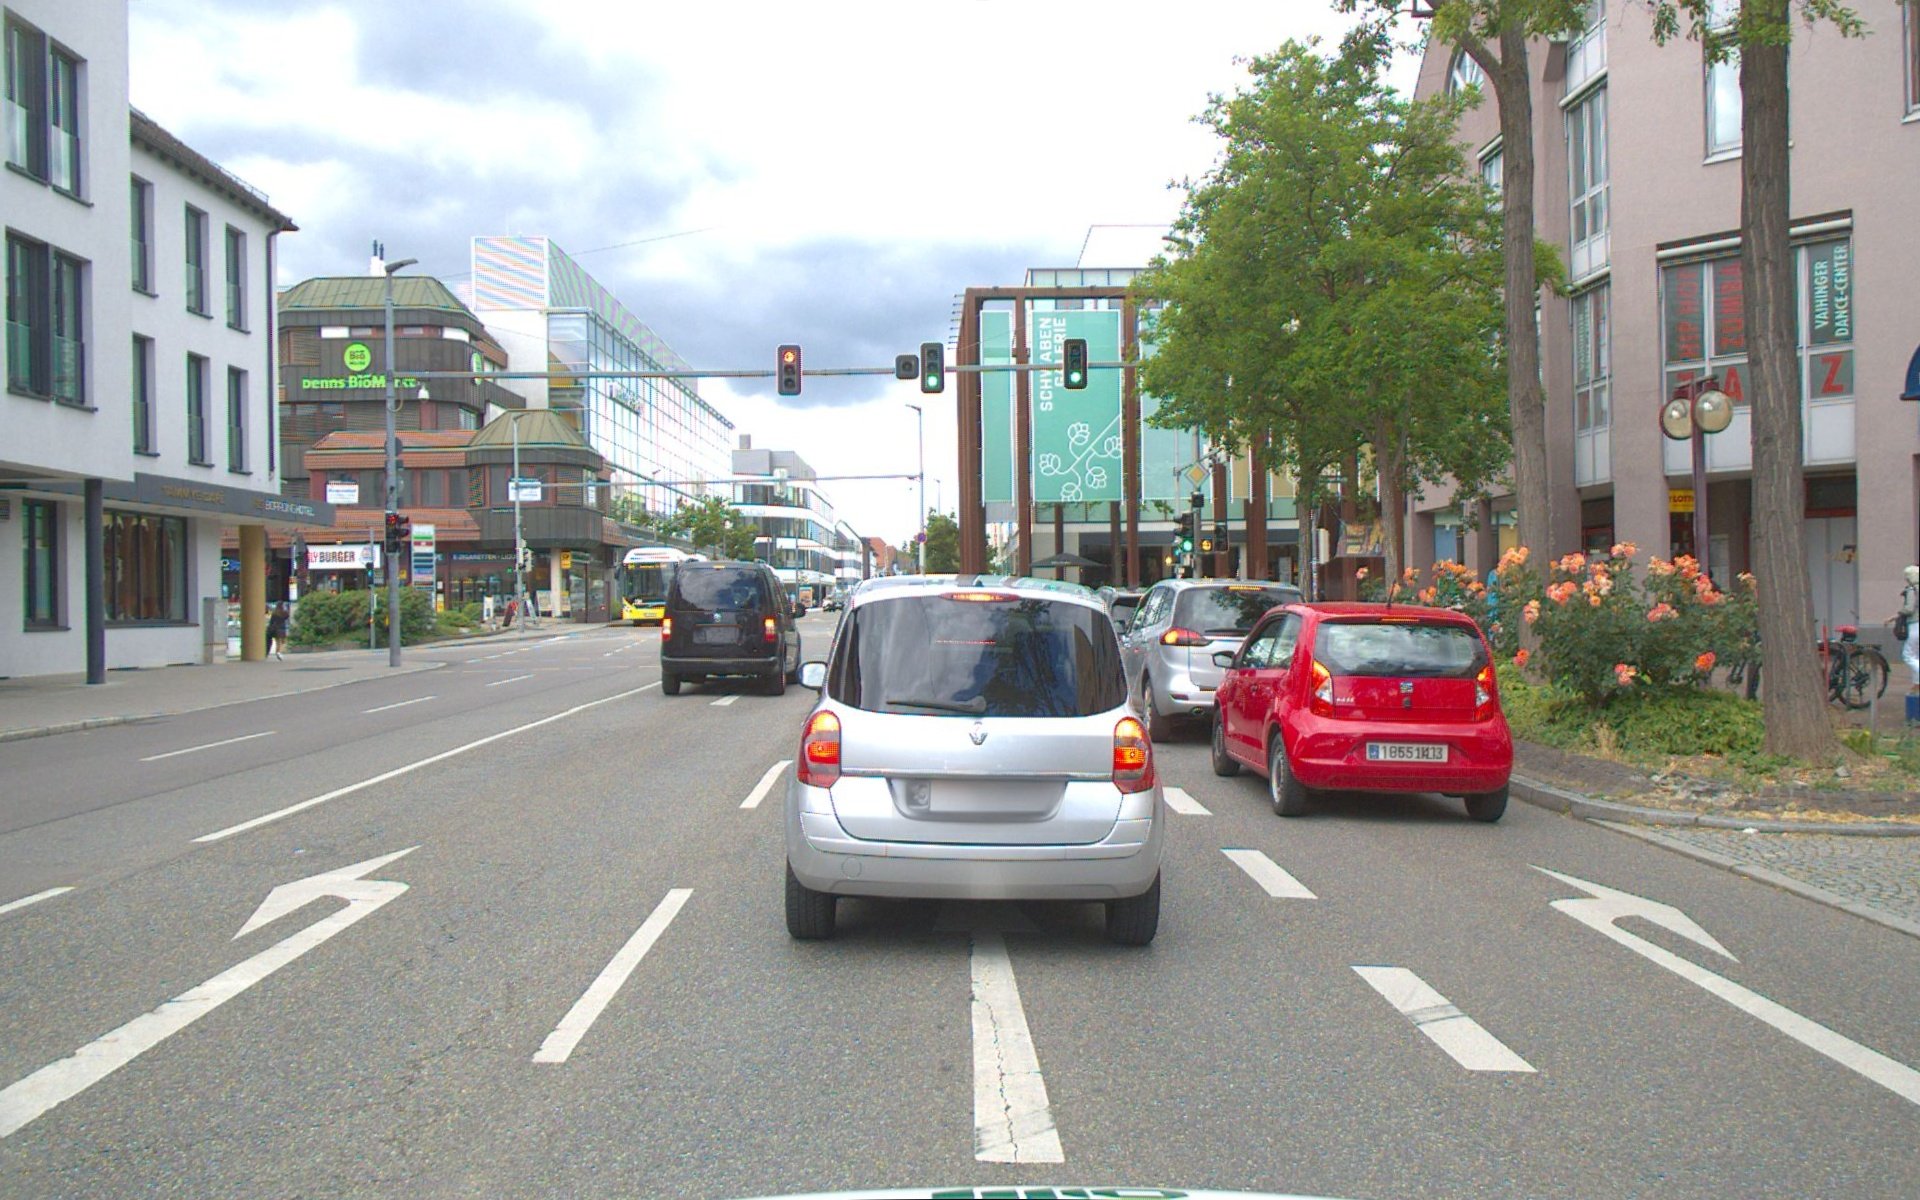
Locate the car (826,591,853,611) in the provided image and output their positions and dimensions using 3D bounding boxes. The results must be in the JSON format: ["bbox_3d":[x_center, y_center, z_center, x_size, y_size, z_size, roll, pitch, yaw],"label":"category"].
[{"bbox_3d":[-9.640,0.065,132.556,1.764,1.567,4.065,0,0,0],"label":"car"}]

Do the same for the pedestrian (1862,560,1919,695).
[{"bbox_3d":[12.325,0.339,21.411,0.773,1.688,0.819,-3,0,-1],"label":"pedestrian"}]

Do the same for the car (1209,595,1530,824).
[{"bbox_3d":[2.961,0.719,12.604,1.554,1.468,3.348,1,0,-1],"label":"car"}]

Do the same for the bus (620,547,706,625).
[{"bbox_3d":[-13.338,-0.636,74.880,2.633,3.318,8.650,0,0,-2],"label":"bus"}]

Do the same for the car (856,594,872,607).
[{"bbox_3d":[-12.271,0.038,210.910,1.764,1.567,4.065,0,0,0],"label":"car"}]

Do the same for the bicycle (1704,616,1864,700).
[{"bbox_3d":[10.234,0.718,20.569,1.731,1.014,0.447,-1,0,3],"label":"bicycle"}]

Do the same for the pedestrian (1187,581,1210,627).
[{"bbox_3d":[8.771,0.143,60.830,0.641,1.679,0.557,-1,0,-15],"label":"pedestrian"}]

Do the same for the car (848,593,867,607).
[{"bbox_3d":[-11.146,-0.015,180.707,1.764,1.567,4.065,0,0,0],"label":"car"}]

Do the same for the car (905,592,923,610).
[{"bbox_3d":[-5.216,0.112,186.210,1.953,1.983,4.949,0,0,-2],"label":"car"}]

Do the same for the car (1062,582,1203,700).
[{"bbox_3d":[2.548,0.566,25.211,1.555,1.623,3.866,1,0,-3],"label":"car"}]

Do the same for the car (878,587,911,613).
[{"bbox_3d":[-4.498,-0.007,114.195,1.877,1.706,4.244,0,0,4],"label":"car"}]

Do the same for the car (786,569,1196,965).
[{"bbox_3d":[0.093,0.651,8.229,1.606,1.554,3.393,1,0,-1],"label":"car"}]

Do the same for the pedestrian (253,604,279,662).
[{"bbox_3d":[-20.477,0.972,48.814,0.653,1.678,0.788,-1,0,-22],"label":"pedestrian"}]

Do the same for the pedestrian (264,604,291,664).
[{"bbox_3d":[-19.514,0.952,47.281,0.693,1.687,0.934,-1,0,-22],"label":"pedestrian"}]

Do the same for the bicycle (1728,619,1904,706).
[{"bbox_3d":[10.341,0.756,20.016,1.861,1.014,0.468,-1,0,3],"label":"bicycle"}]

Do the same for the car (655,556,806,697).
[{"bbox_3d":[-3.328,0.341,24.732,1.709,1.887,4.632,1,0,-2],"label":"car"}]

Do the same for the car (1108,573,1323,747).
[{"bbox_3d":[2.660,0.573,18.024,1.555,1.662,3.914,1,0,-3],"label":"car"}]

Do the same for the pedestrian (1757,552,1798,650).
[{"bbox_3d":[14.503,0.018,29.336,0.624,1.706,0.588,0,0,28],"label":"pedestrian"}]

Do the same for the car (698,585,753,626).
[{"bbox_3d":[-10.196,0.208,72.149,1.953,1.735,4.063,0,0,-2],"label":"car"}]
